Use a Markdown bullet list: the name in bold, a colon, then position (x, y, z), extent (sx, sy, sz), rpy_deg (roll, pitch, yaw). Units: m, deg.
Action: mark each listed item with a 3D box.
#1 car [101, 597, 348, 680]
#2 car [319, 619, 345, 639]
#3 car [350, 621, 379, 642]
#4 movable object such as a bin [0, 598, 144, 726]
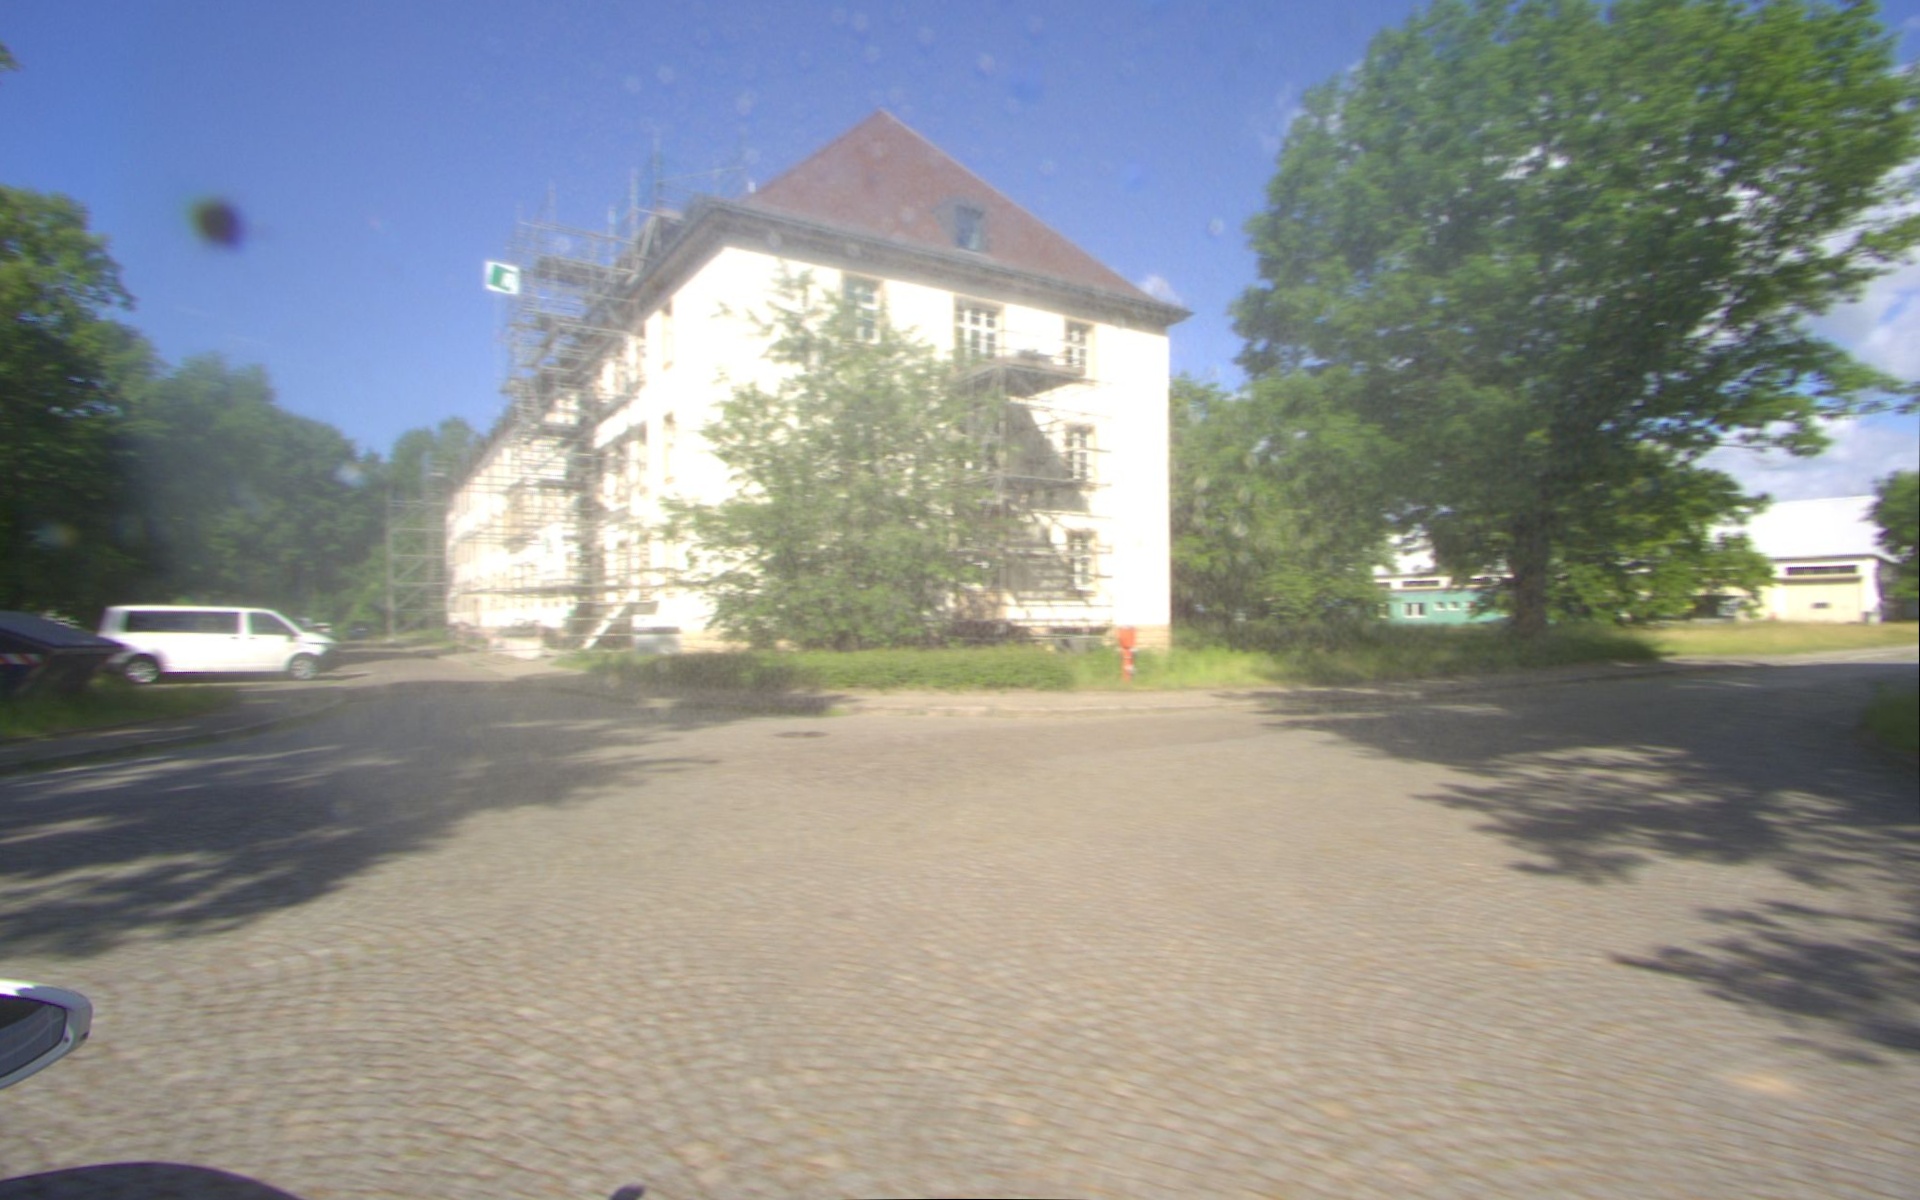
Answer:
- **car**: position (-19.493, 0.977, 26.879), extent (5.182, 2.042, 1.938), rpy_deg (0, -1, -34)
- **car**: position (-52.510, 2.389, 83.683), extent (1.794, 1.600, 4.109), rpy_deg (-1, -1, -33)
- **car**: position (-50.678, 2.669, 85.244), extent (1.951, 1.690, 4.061), rpy_deg (-1, -1, -33)
- **movable object such as a bin**: position (-14.507, 0.888, 14.579), extent (3.512, 1.767, 2.022), rpy_deg (-1, 0, -15)
